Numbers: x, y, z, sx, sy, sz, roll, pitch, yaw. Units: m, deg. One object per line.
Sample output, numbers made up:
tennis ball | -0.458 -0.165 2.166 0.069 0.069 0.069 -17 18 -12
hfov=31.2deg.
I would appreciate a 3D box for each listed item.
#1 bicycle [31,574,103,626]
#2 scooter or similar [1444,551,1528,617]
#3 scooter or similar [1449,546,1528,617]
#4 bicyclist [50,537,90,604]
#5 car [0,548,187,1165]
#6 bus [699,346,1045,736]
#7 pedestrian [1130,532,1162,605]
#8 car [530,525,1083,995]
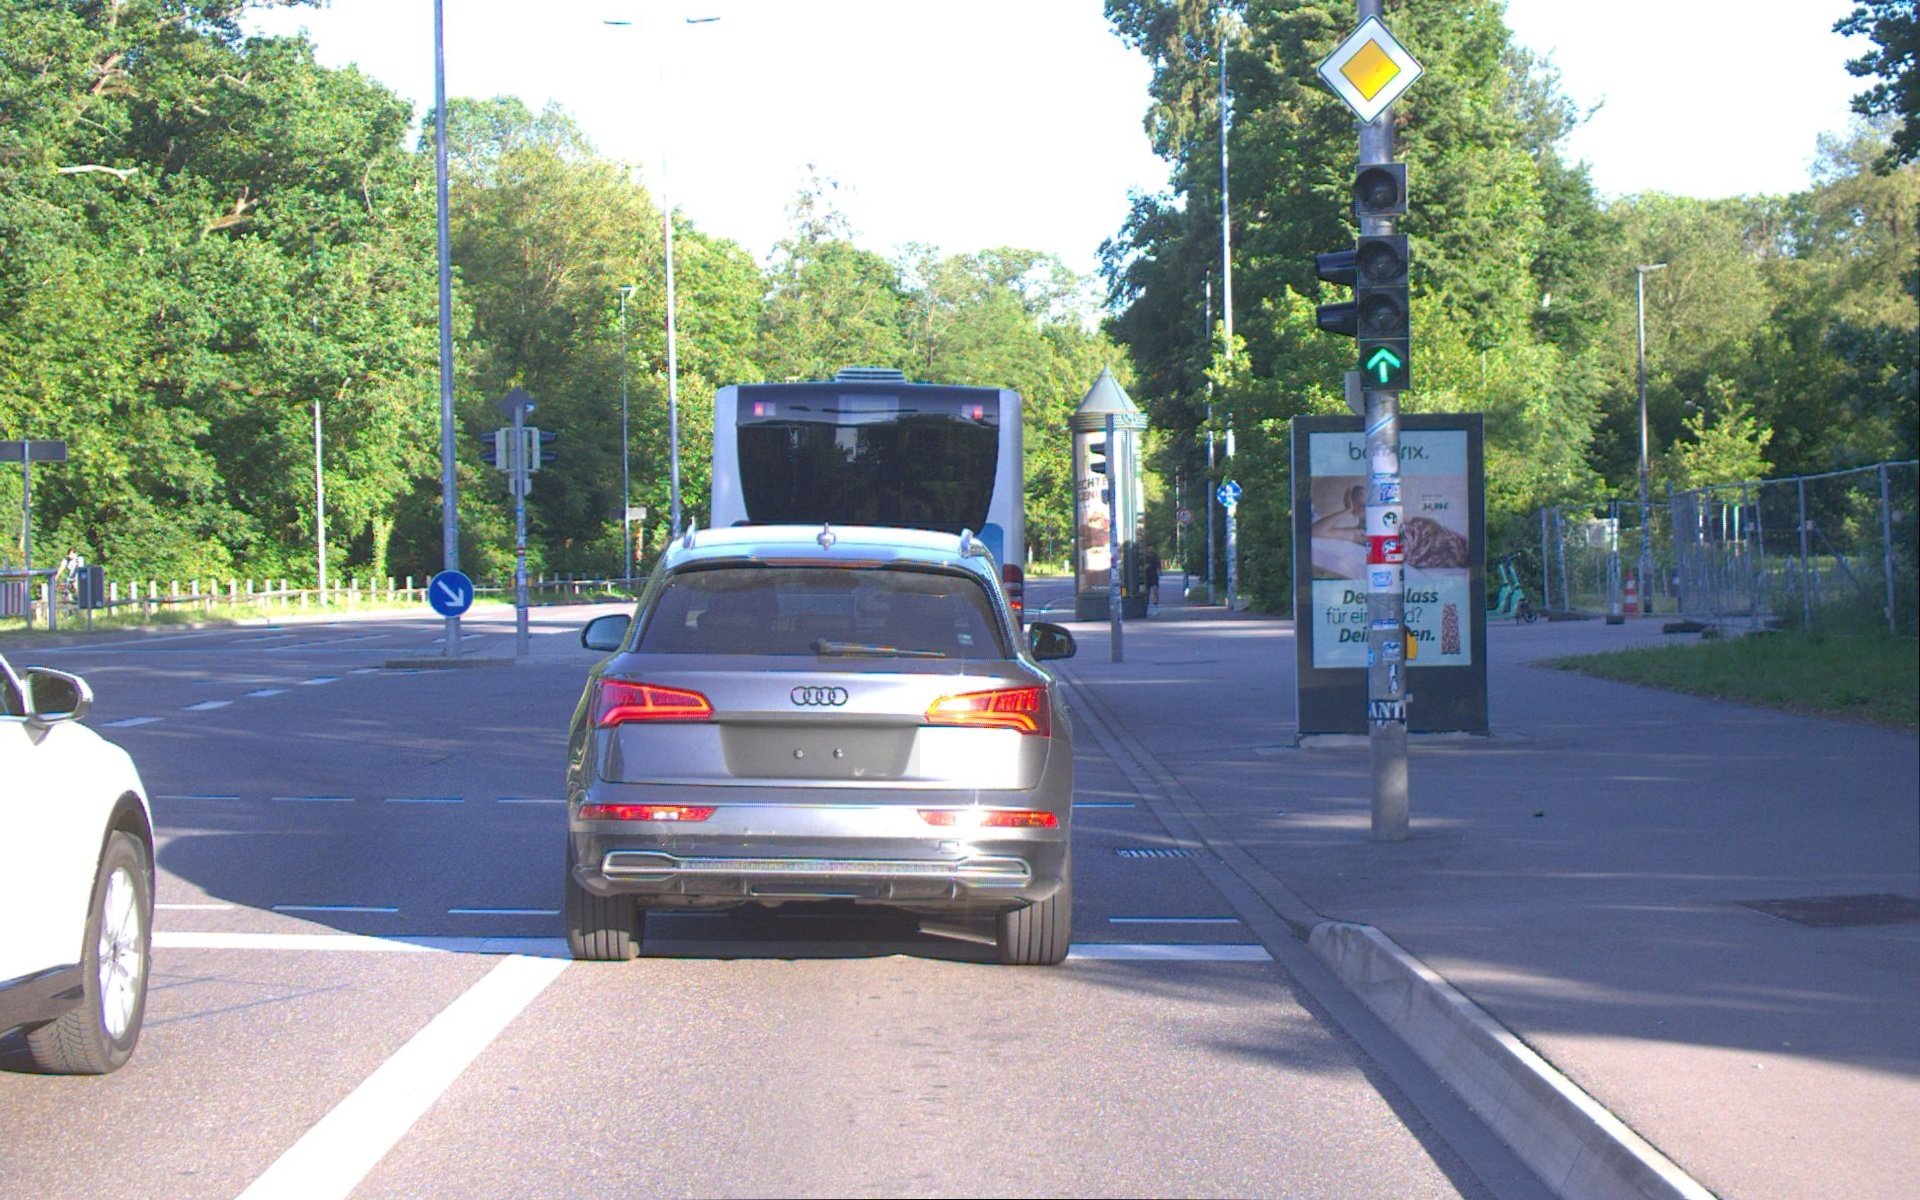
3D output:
bicycle | -21.082 -0.005 81.164 0.680 1.150 1.983 1 3 18
scooter or similar | 9.512 -0.289 62.179 1.441 1.163 0.393 -2 -1 29
scooter or similar | 9.013 -0.311 58.641 1.266 1.143 0.394 -2 -1 8
bicyclist | -21.042 -0.698 81.268 0.562 1.546 0.799 1 3 17
car | -3.264 0.626 8.407 1.833 1.507 4.301 0 1 -1
bus | -0.773 -0.530 33.123 2.689 3.032 12.042 1 1 -1
pedestrian | 4.340 -0.743 80.245 0.626 1.682 0.882 1 0 9
car | -0.561 0.520 14.182 1.893 1.600 4.545 1 1 -1
